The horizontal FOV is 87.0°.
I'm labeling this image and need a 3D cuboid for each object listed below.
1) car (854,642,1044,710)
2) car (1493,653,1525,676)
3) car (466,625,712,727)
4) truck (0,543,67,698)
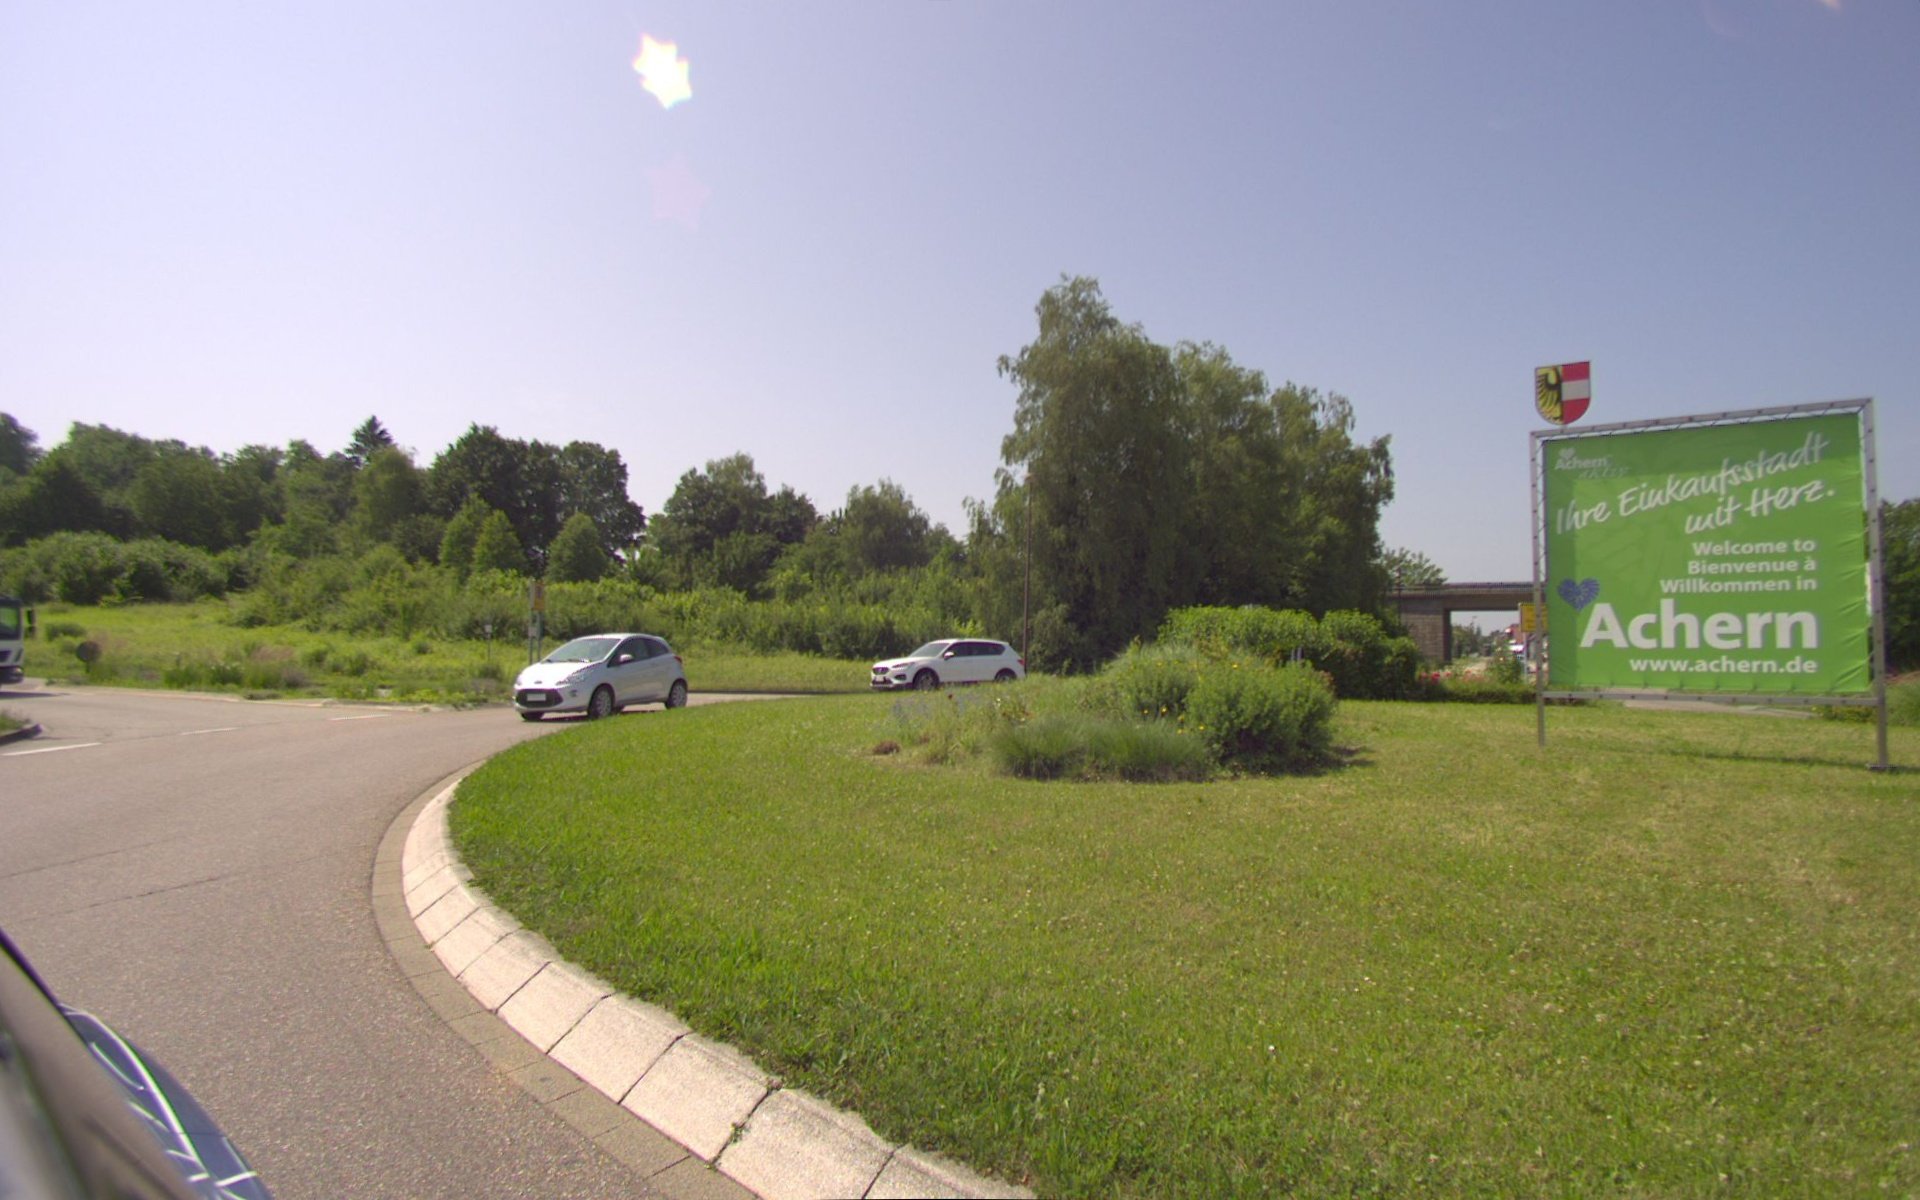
[{"bbox_3d":[-0.259,2.066,28.553,5.037,1.665,2.203,1,-2,-37],"label":"car"},{"bbox_3d":[45.407,5.310,83.679,2.022,1.665,4.588,-1,-2,32],"label":"car"},{"bbox_3d":[-6.619,1.311,18.604,2.112,1.628,4.173,-2,-2,19],"label":"car"},{"bbox_3d":[-28.223,0.474,26.315,8.936,3.858,2.887,0,-1,14],"label":"truck"}]
